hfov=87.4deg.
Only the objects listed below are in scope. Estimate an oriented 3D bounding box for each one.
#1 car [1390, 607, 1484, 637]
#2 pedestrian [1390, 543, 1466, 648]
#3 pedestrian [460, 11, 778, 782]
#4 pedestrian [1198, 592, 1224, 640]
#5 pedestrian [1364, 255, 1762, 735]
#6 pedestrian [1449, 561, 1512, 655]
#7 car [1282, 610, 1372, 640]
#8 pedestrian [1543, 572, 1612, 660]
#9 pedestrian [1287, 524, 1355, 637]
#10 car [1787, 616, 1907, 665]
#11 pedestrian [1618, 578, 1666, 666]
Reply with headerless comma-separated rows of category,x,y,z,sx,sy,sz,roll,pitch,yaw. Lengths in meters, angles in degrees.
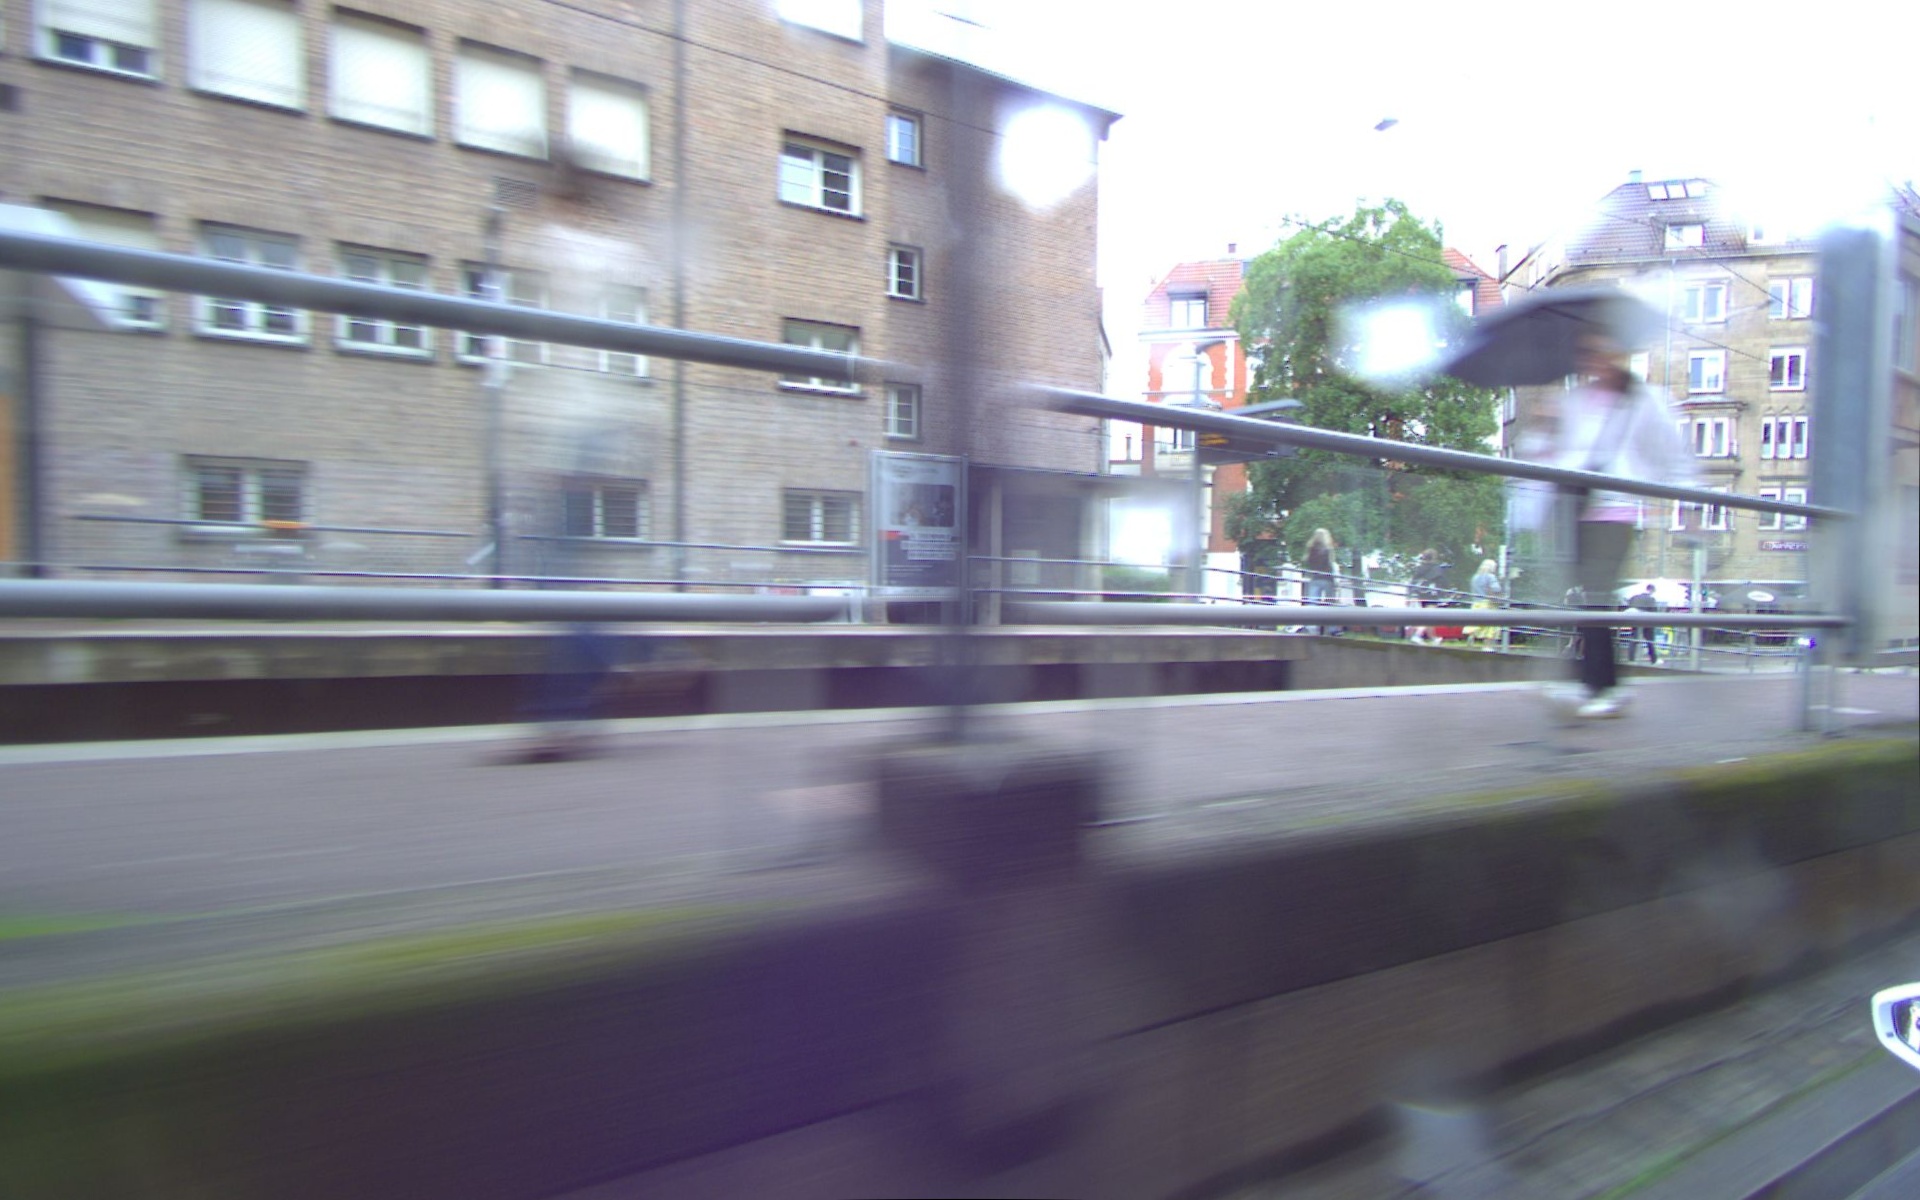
car,23.645,1.074,49.879,3.919,1.421,1.743,1,-1,12
pedestrian,8.038,-0.078,17.247,0.872,1.718,0.740,4,0,-30
pedestrian,-0.972,-0.471,2.806,0.702,1.798,0.640,1,1,-30
pedestrian,8.998,0.571,35.987,0.681,1.697,0.600,1,-1,-33
pedestrian,2.676,-0.391,4.528,1.098,1.798,1.108,1,1,-30
pedestrian,9.520,0.138,18.385,0.633,1.669,0.740,3,0,-30
car,18.552,1.252,50.904,4.083,1.421,1.743,1,-1,12
pedestrian,11.764,0.300,19.142,0.945,1.604,0.689,3,0,-30
pedestrian,5.697,-0.302,15.857,0.681,1.721,0.660,3,0,-33
car,29.950,1.338,33.880,4.708,1.517,1.636,1,0,-30
pedestrian,14.552,0.463,21.443,0.790,1.842,0.508,1,1,-30
